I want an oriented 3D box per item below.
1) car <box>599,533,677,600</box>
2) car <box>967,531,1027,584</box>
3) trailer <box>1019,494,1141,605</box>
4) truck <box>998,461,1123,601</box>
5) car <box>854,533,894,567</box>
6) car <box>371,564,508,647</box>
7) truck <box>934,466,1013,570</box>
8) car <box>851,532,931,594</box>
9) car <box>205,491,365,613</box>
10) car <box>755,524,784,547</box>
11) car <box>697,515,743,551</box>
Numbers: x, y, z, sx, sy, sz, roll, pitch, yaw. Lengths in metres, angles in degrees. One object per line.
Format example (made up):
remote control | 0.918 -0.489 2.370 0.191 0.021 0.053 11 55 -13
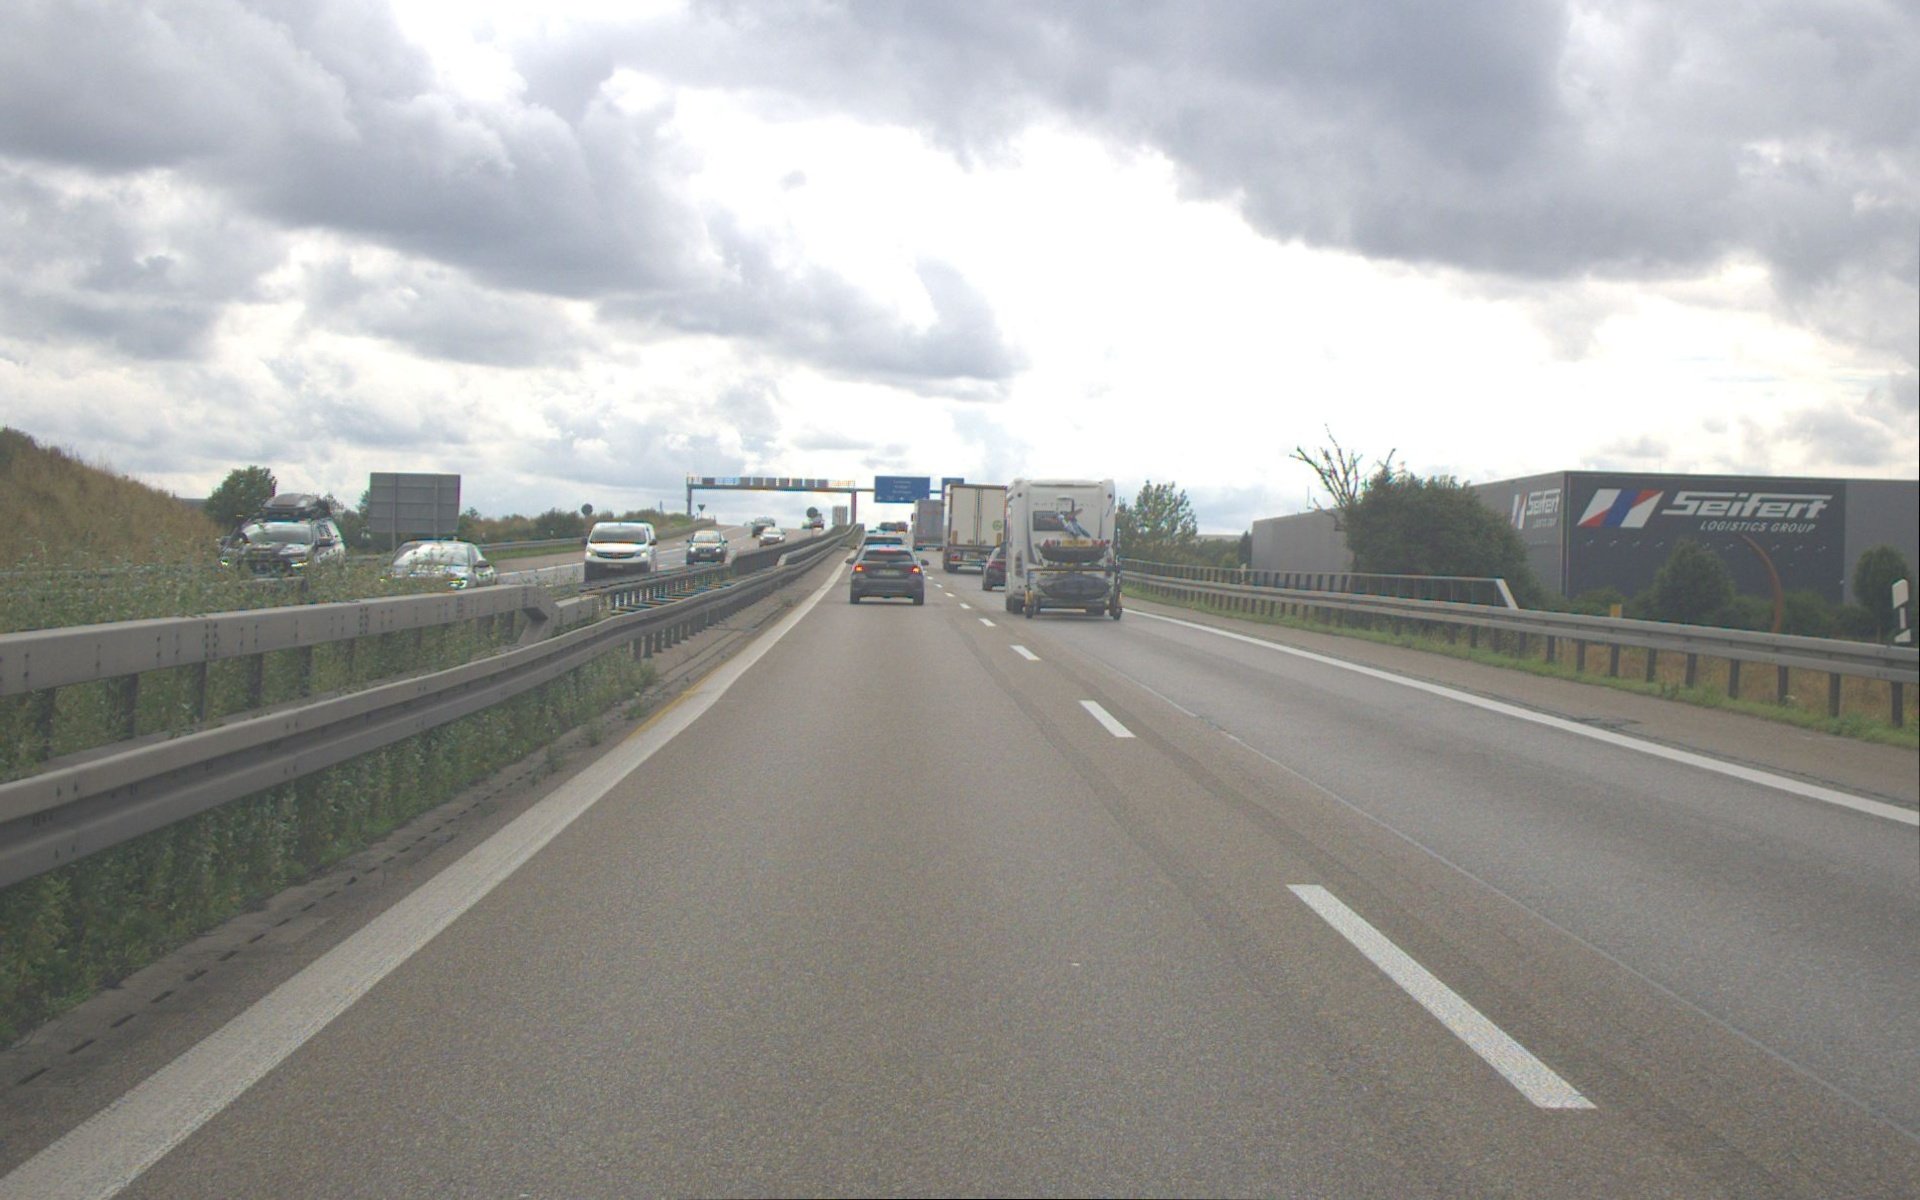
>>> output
car | -9.433 -0.973 101.039 1.828 1.878 5.419 1 0 -1
car | 1.185 -1.386 112.737 1.801 1.679 4.000 1 0 -1
trailer | 2.385 -1.000 69.236 2.338 2.129 4.000 1 0 1
truck | 2.183 -1.493 76.307 2.482 2.940 5.815 1 0 -1
car | -4.635 -2.703 185.397 1.943 1.769 3.696 1 0 1
car | -9.314 0.075 61.798 1.811 1.397 4.406 1 0 -1
truck | 0.585 -3.655 156.250 3.339 4.519 8.017 1 0 -1
car | -1.675 -0.892 84.080 1.746 1.448 4.000 1 0 1
car | -13.033 -0.912 66.719 1.993 2.234 5.719 1 0 -1
car | -13.645 -4.606 246.654 1.906 1.508 4.730 1 0 -1
car | -10.976 -3.069 157.357 1.841 1.571 4.000 1 0 -1
